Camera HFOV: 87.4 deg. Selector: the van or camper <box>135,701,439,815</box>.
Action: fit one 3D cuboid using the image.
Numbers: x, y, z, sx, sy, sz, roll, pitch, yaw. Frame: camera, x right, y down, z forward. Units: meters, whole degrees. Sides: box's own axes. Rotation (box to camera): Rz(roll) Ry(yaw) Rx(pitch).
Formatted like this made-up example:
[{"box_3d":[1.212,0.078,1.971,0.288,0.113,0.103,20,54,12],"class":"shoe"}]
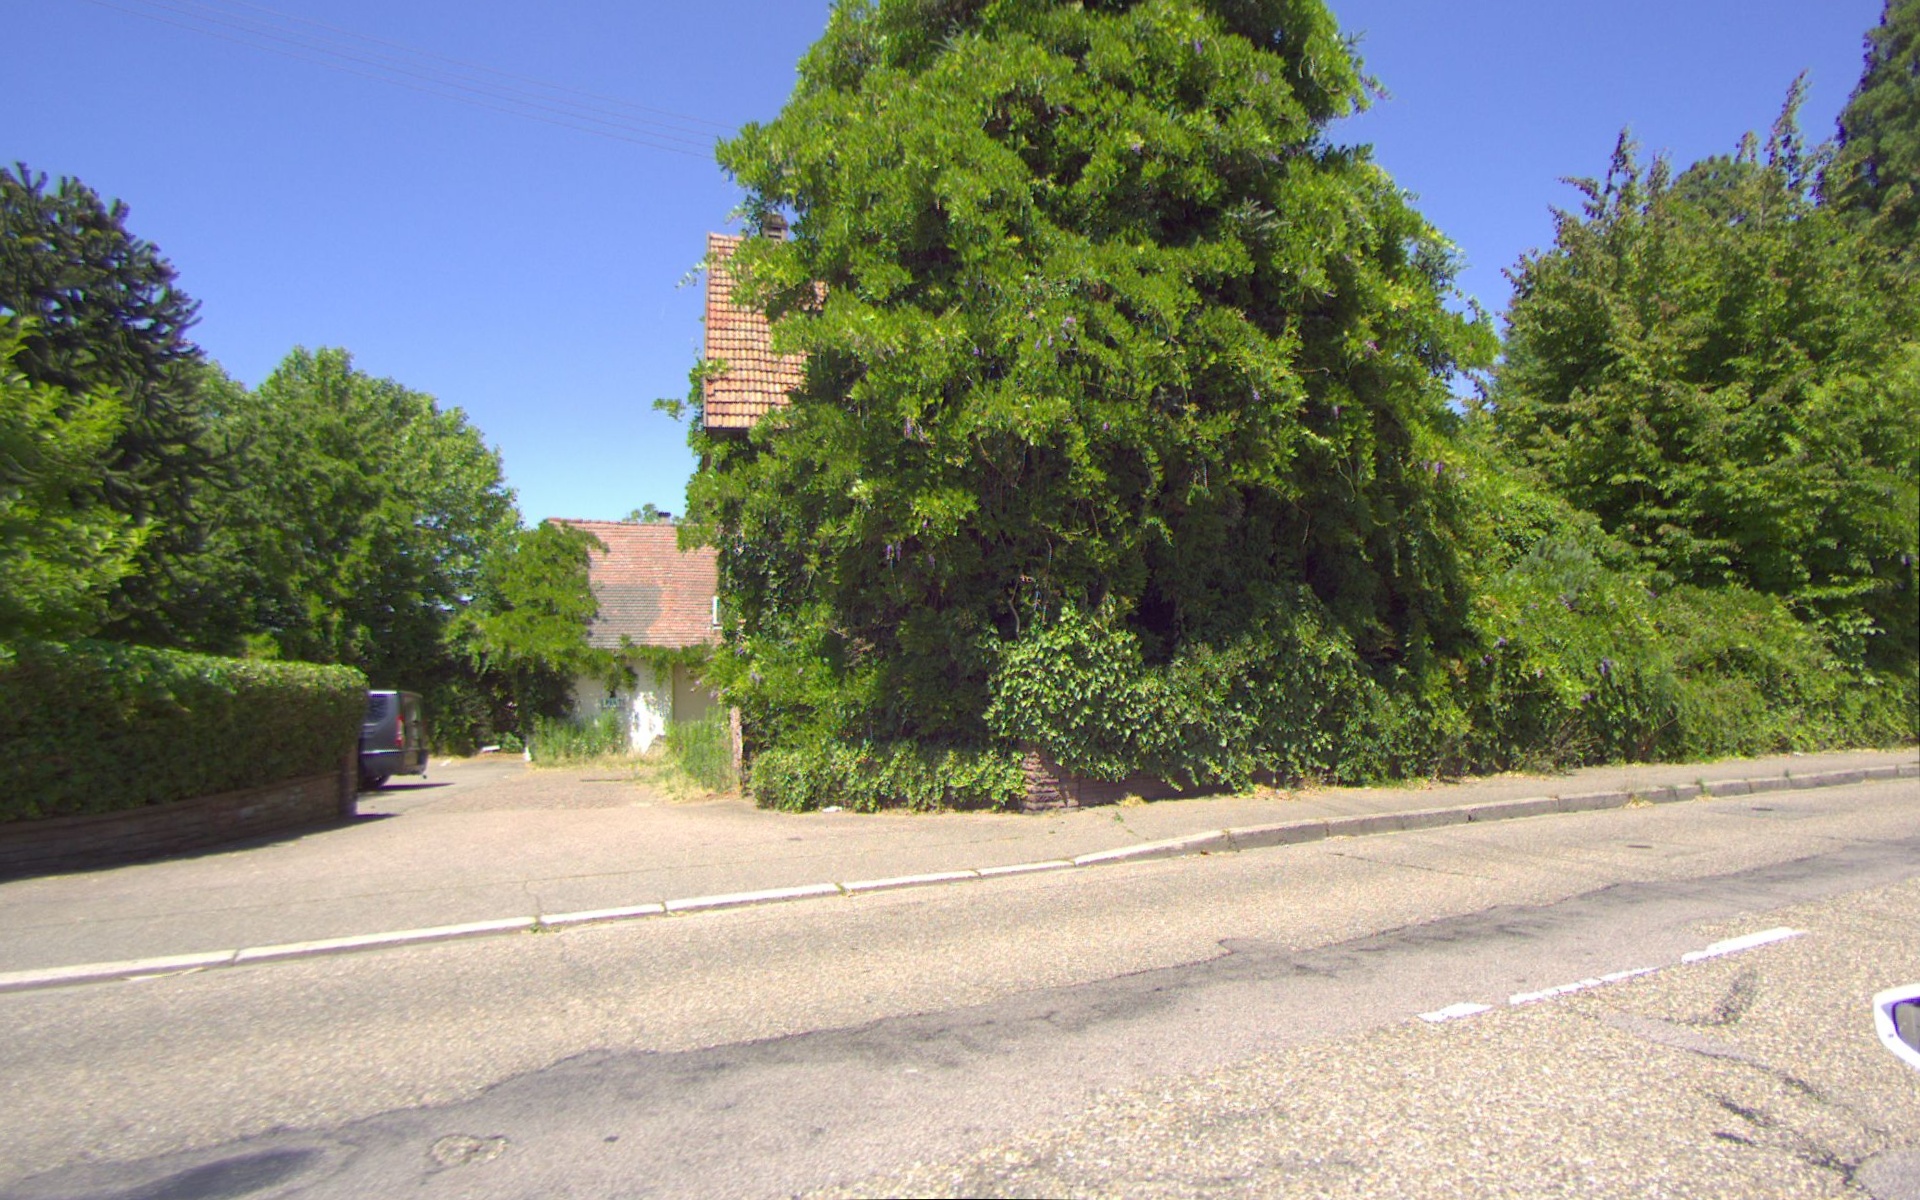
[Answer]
[{"box_3d":[-12.636,2.945,19.268,4.450,1.905,1.916,1,-7,-22],"class":"van or camper"}]
